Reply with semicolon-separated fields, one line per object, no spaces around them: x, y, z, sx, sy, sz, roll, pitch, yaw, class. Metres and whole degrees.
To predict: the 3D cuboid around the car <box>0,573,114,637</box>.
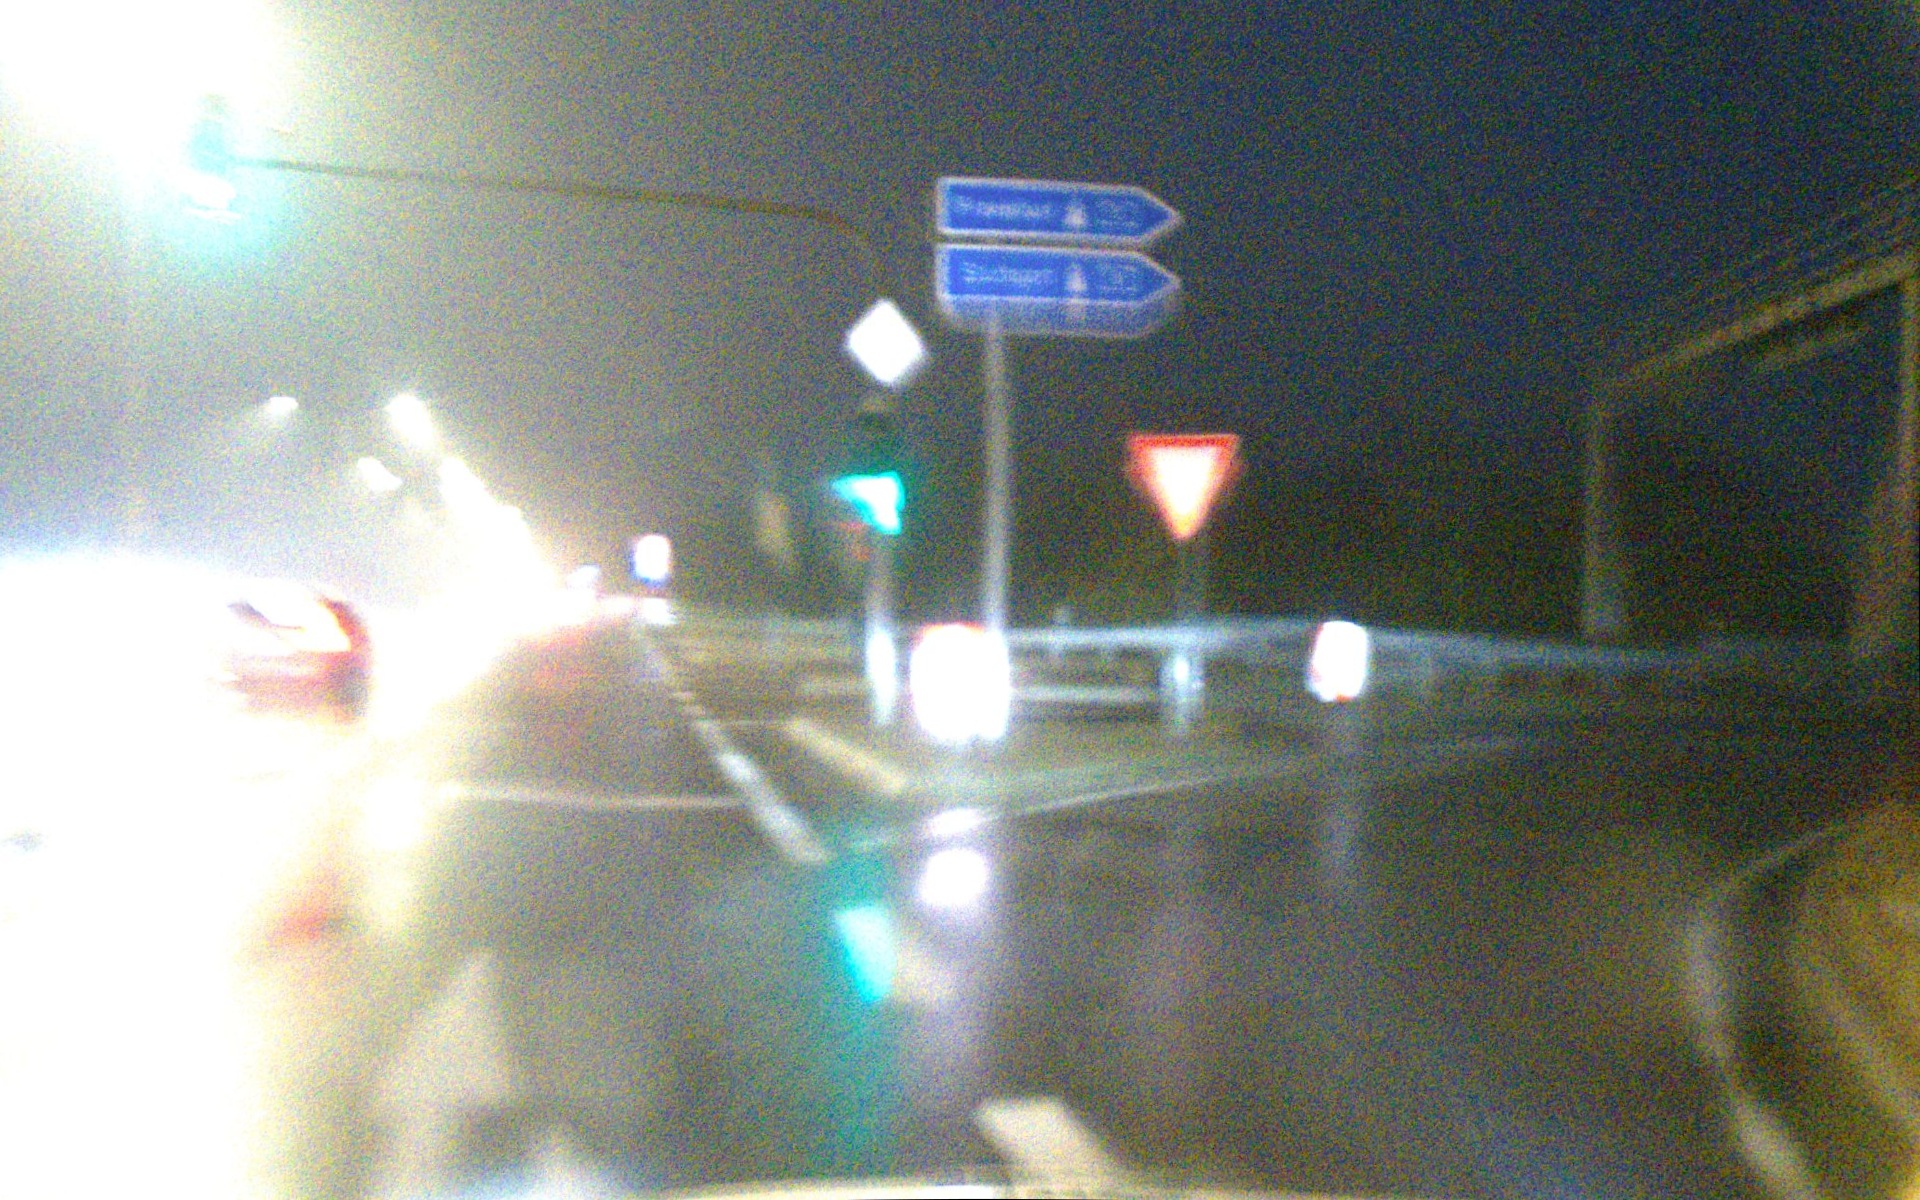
-21.733;0.107;39.836;1.561;1.452;3.340;1;0;-12;car

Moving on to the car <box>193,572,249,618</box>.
-34.310;-0.222;76.820;1.561;2.049;3.780;1;0;-12;car

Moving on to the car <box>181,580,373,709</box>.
-8.899;0.513;21.885;1.767;1.477;4.251;3;0;-15;car

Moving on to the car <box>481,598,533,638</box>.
-22.230;0.913;81.315;2.140;1.629;3.987;6;-4;-12;car

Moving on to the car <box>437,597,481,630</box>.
-29.714;0.852;98.172;2.141;1.629;3.985;6;-4;-13;car

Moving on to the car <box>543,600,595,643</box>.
-17.592;0.999;74.524;1.875;1.629;3.990;5;-4;-9;car

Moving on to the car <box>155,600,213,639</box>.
-38.681;0.982;82.562;1.719;1.872;4.002;1;-1;-12;car
